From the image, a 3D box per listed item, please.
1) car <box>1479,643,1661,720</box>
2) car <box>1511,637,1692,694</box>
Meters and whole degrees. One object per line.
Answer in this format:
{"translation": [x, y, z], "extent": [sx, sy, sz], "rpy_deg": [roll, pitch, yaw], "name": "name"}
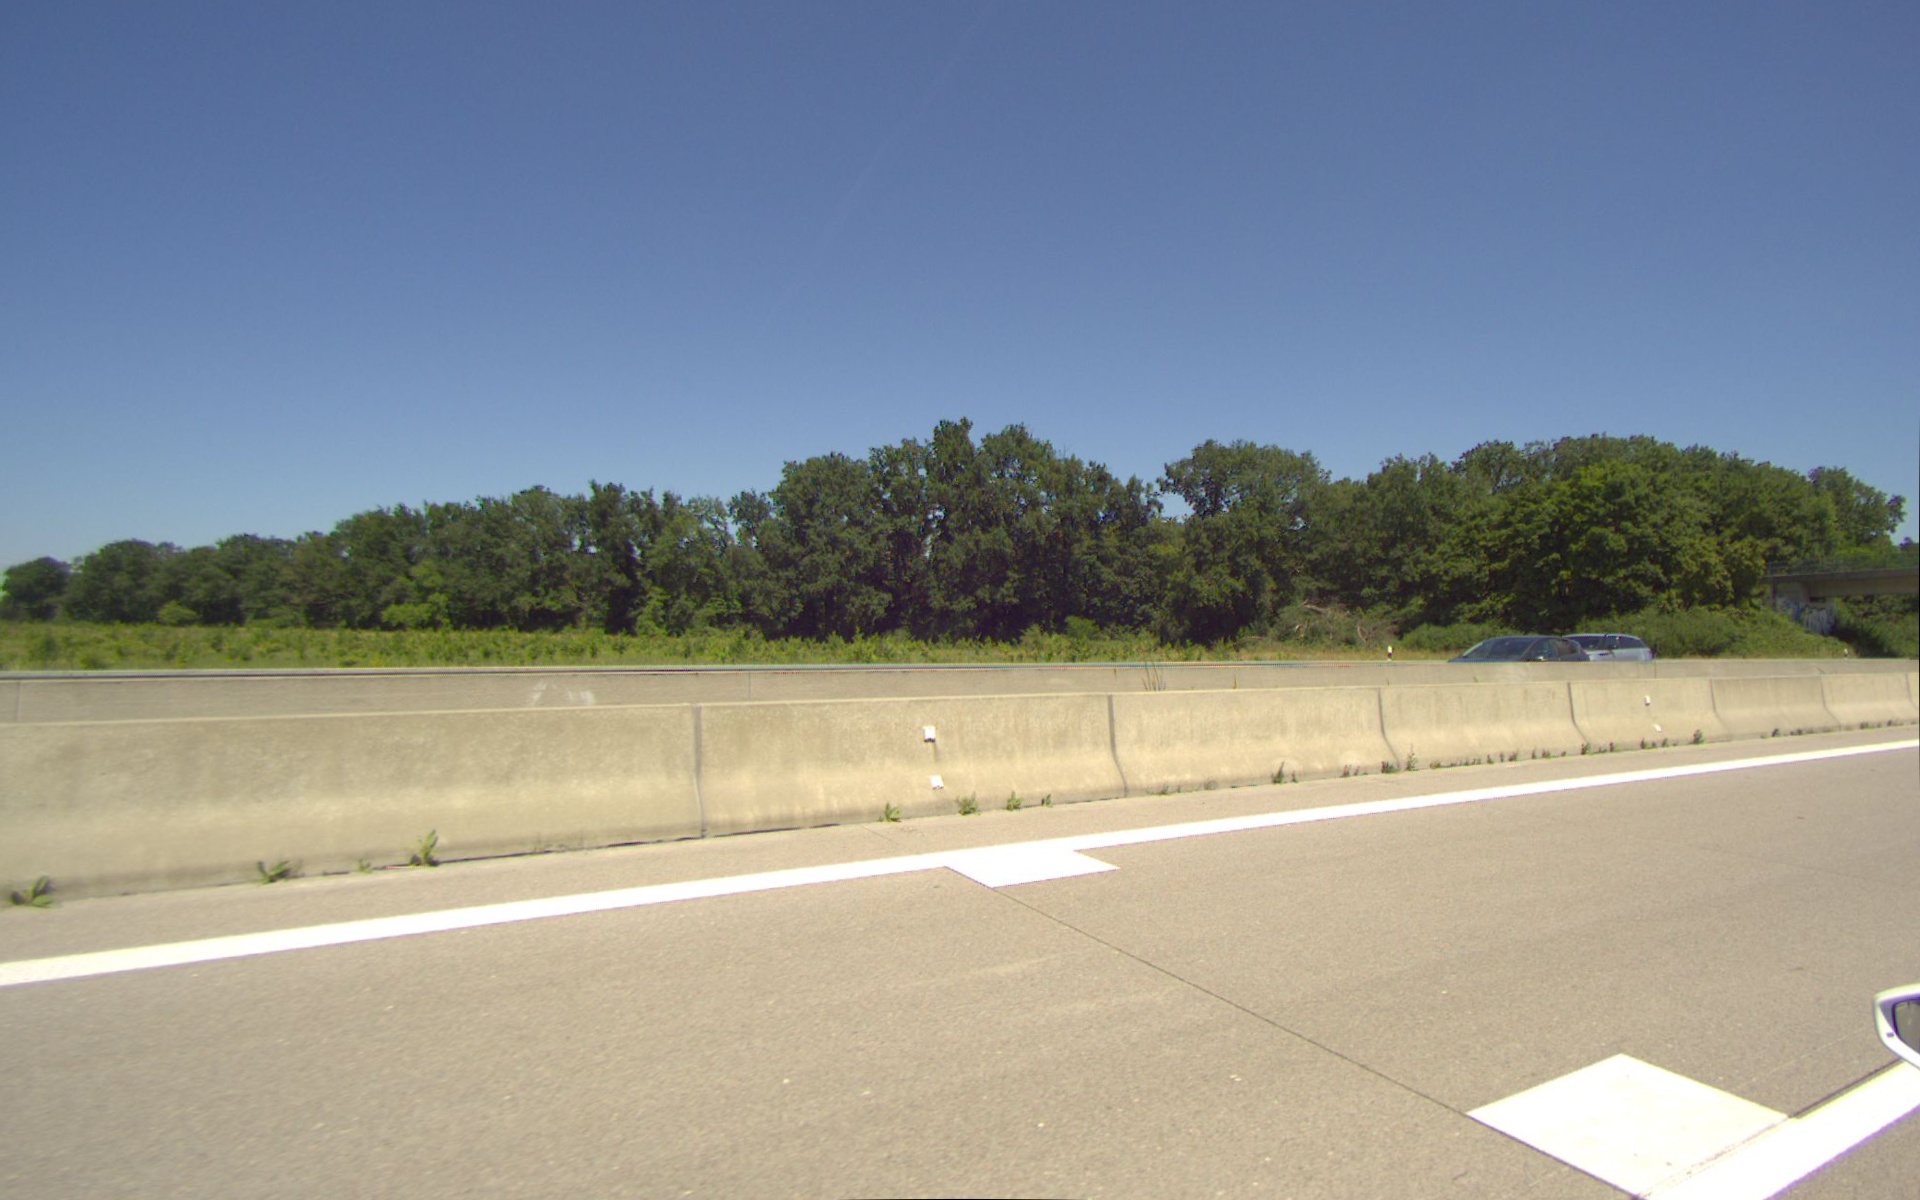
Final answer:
{"translation": [13.454, 1.732, 22.113], "extent": [4.033, 1.516, 1.748], "rpy_deg": [2, -2, -31], "name": "car"}
{"translation": [19.205, 1.906, 29.984], "extent": [6.064, 1.516, 2.055], "rpy_deg": [2, -2, -31], "name": "car"}
